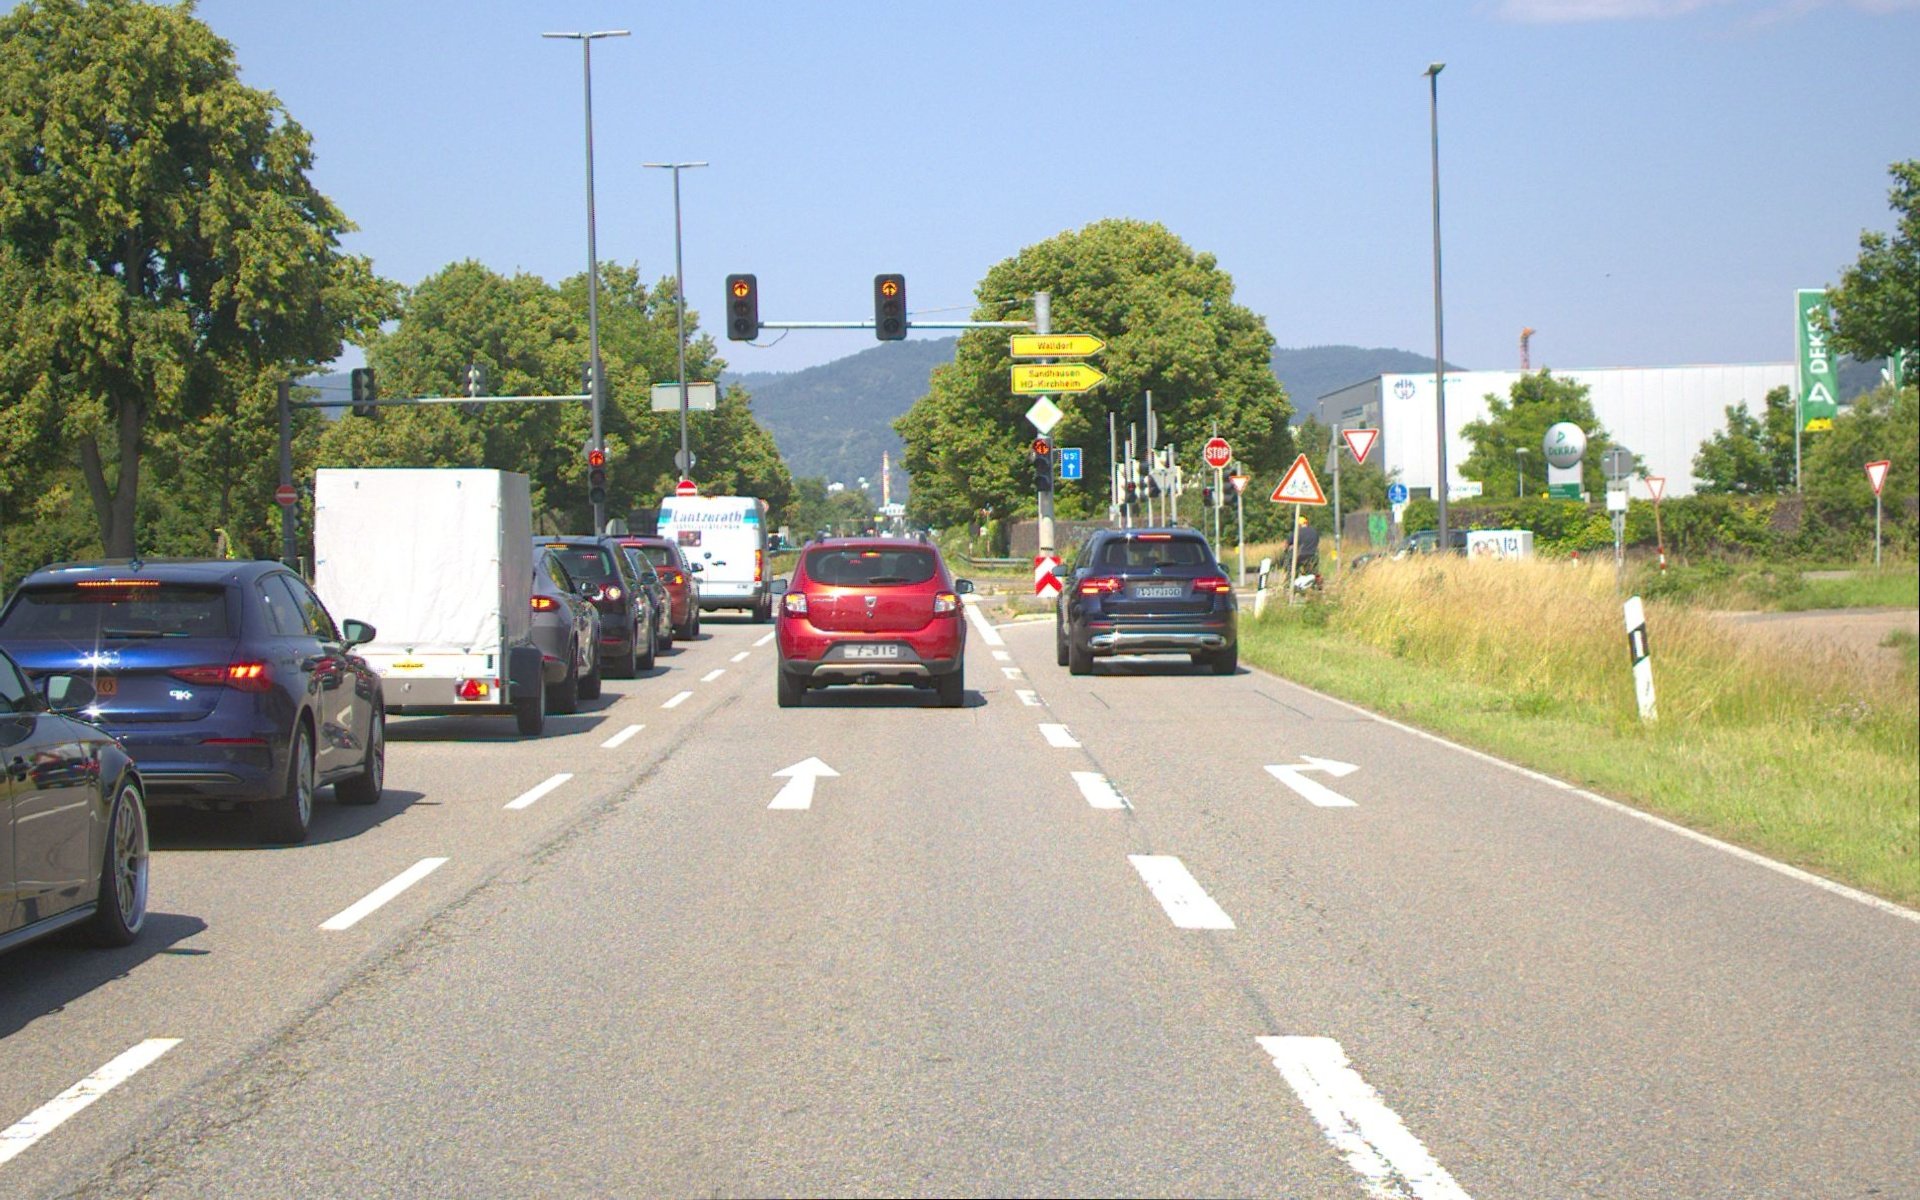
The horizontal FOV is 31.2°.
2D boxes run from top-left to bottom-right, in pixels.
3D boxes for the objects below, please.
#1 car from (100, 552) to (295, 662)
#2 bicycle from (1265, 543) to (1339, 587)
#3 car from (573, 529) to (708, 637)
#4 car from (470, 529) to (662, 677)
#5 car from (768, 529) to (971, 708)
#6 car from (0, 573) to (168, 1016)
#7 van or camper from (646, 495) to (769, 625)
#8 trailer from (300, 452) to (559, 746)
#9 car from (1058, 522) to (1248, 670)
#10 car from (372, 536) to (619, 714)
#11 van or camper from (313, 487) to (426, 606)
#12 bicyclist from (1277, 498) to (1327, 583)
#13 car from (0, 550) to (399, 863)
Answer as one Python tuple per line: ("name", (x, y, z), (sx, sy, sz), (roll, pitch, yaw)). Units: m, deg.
("car", (-10.916, 0.064, 49.500), (1.879, 1.449, 4.505), (-1, 1, -1))
("bicycle", (7.253, -0.748, 73.061), (0.761, 0.911, 2.780), (-2, 1, -12))
("car", (-4.875, -0.294, 52.908), (1.724, 1.594, 3.956), (0, 1, 0))
("car", (-4.403, -0.008, 38.854), (1.723, 1.570, 3.893), (-1, 1, 0))
("car", (-0.799, 0.132, 32.470), (1.749, 1.570, 3.676), (-1, 1, 1))
("car", (-3.918, 0.626, 11.102), (1.740, 1.375, 4.455), (0, 1, -1))
("van or camper", (-4.614, -0.747, 63.387), (2.179, 2.295, 4.827), (0, 1, -3))
("trailer", (-4.161, -0.047, 27.496), (1.500, 2.166, 4.174), (0, 1, -1))
("car", (2.156, -0.085, 39.519), (1.993, 1.611, 4.339), (0, 1, 1))
("car", (-4.184, 0.174, 31.581), (1.745, 1.498, 4.363), (-1, 1, -1))
("van or camper", (-16.119, -1.490, 94.148), (2.263, 3.088, 5.696), (-1, 1, -2))
("bicyclist", (7.248, -1.269, 72.905), (0.802, 1.765, 0.809), (-2, 1, -12))
("car", (-4.141, 0.474, 18.308), (1.717, 1.460, 4.030), (0, 1, -1))
